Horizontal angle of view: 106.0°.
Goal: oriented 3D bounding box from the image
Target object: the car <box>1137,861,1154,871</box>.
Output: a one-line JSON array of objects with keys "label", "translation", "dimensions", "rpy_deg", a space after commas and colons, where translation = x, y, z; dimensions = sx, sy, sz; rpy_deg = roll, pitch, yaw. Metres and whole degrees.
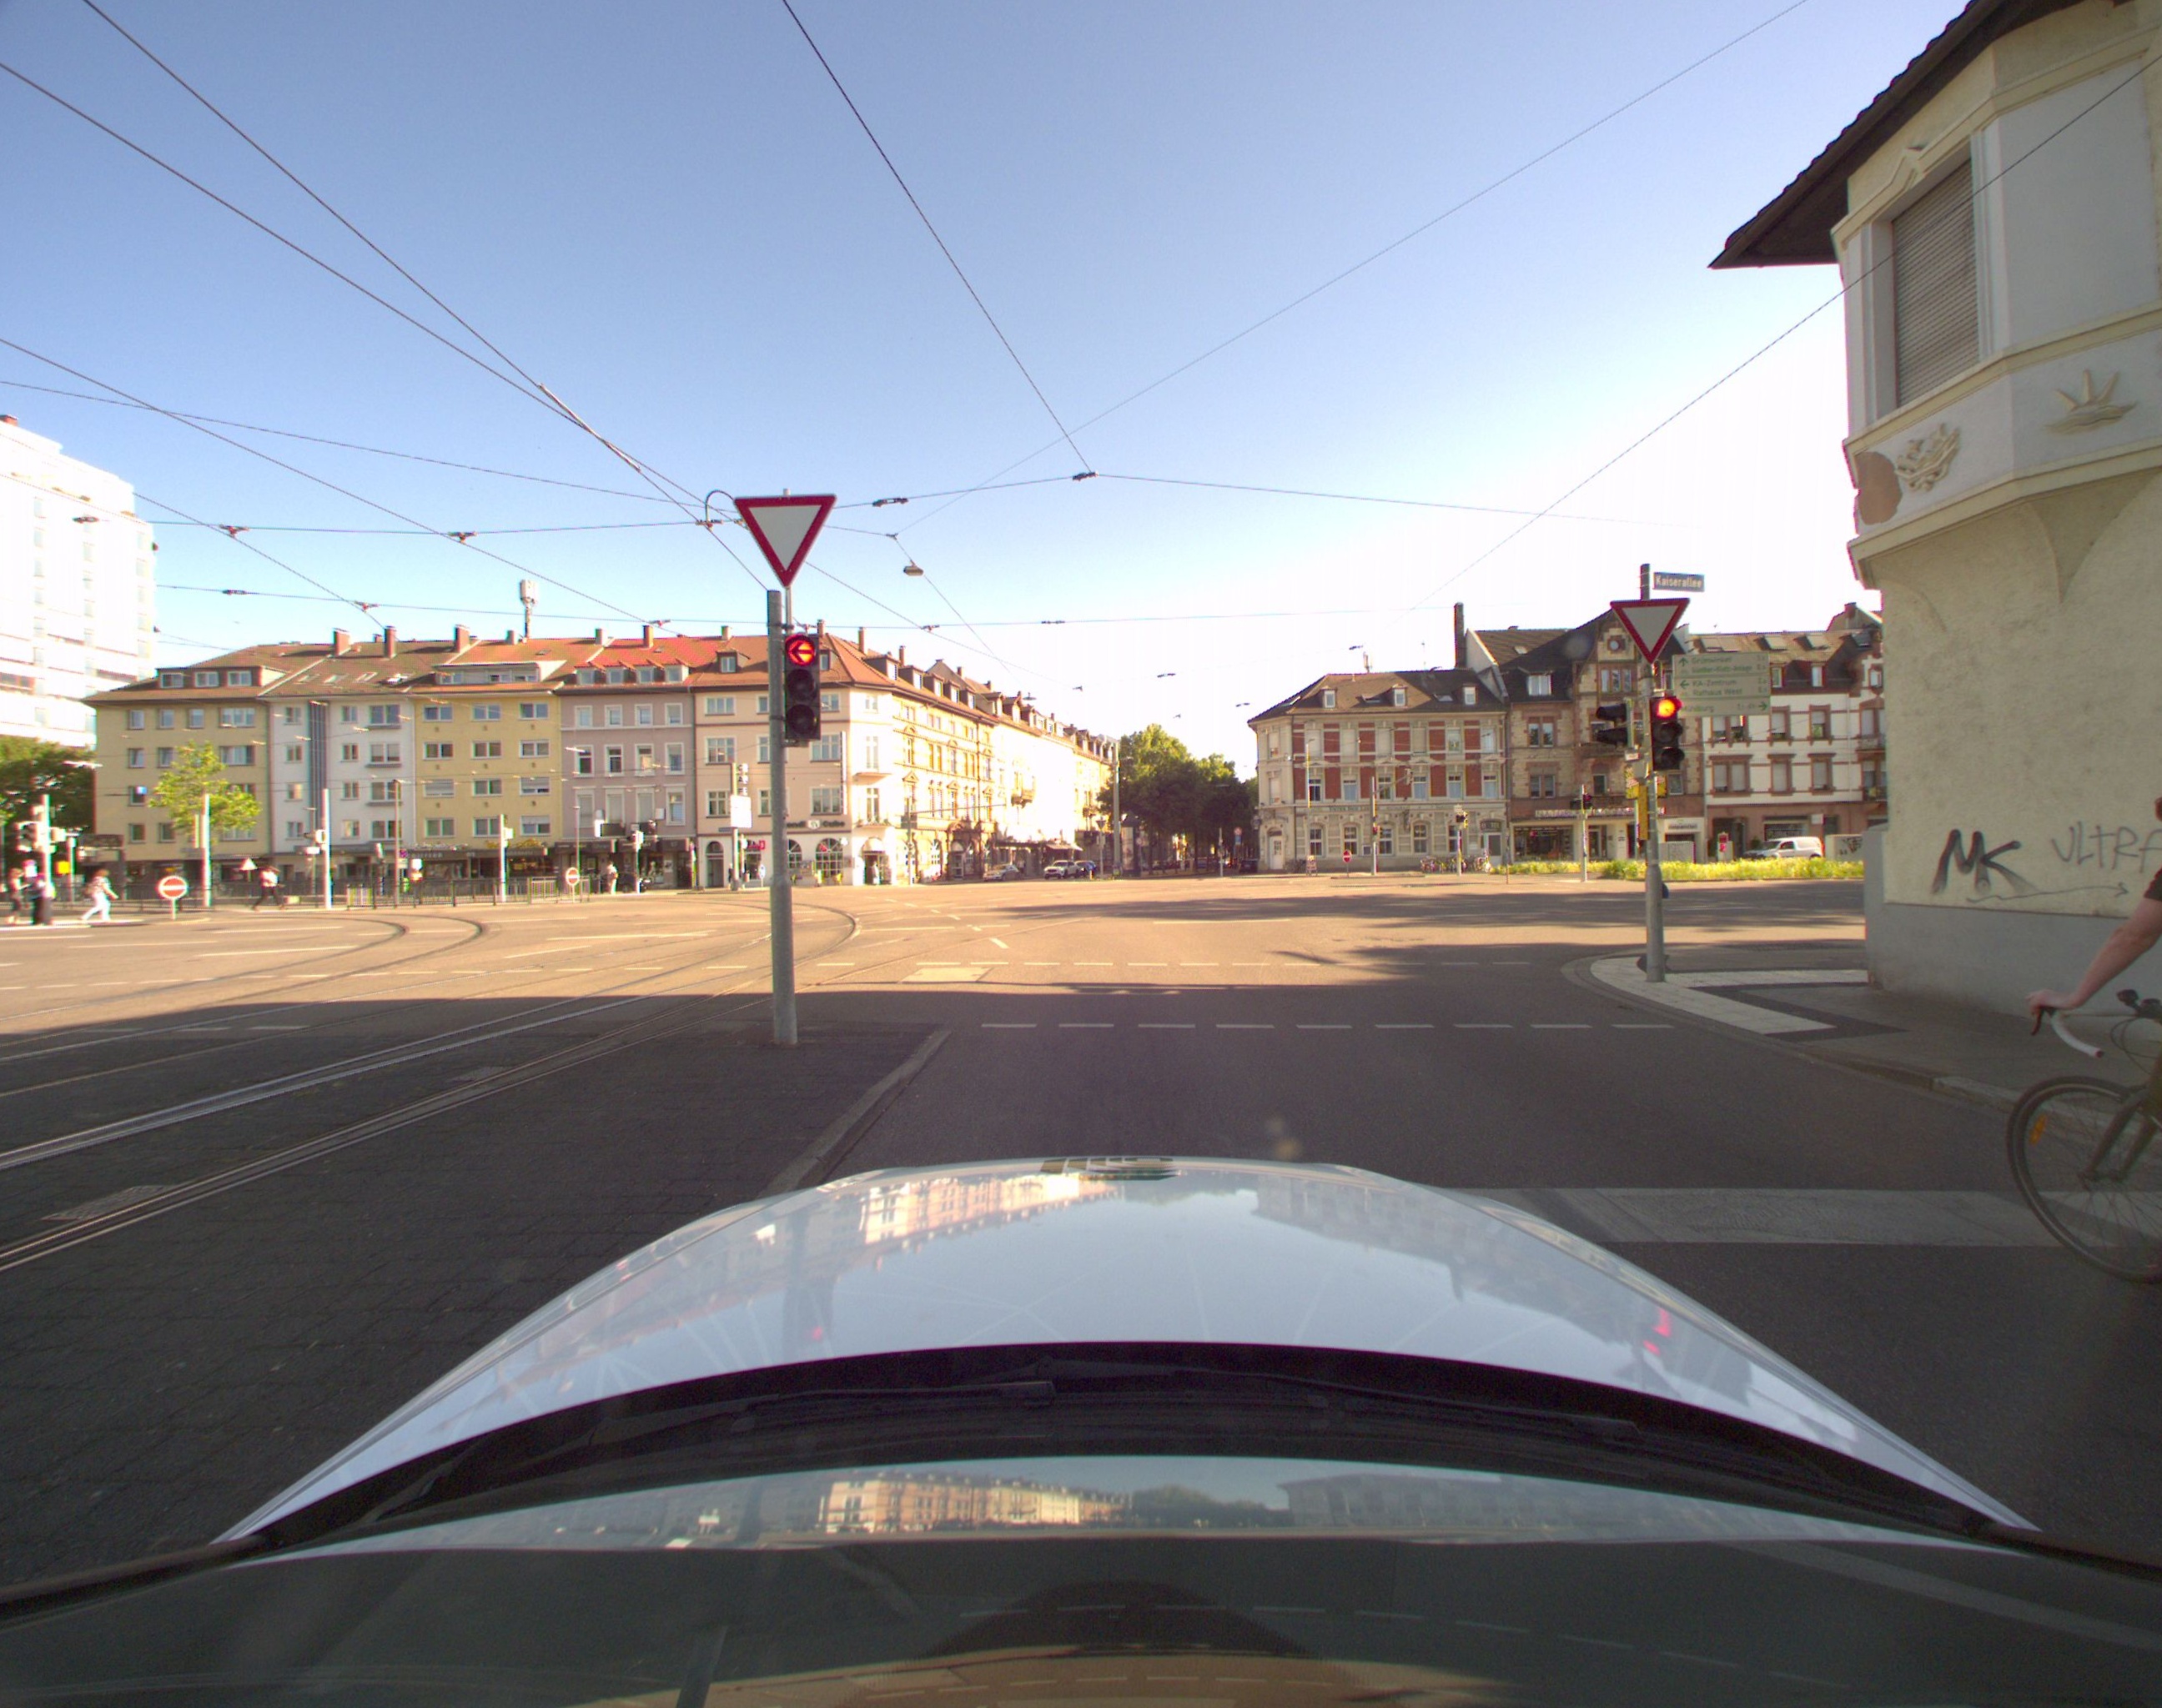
[{"label": "car", "translation": [9.184, 1.694, 115.768], "dimensions": [1.729, 1.397, 4.137], "rpy_deg": [1, 0, 12]}]

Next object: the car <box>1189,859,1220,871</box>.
[{"label": "car", "translation": [17.494, 1.536, 114.988], "dimensions": [4.078, 1.646, 1.754], "rpy_deg": [1, 0, 17]}]

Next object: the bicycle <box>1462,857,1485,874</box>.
[{"label": "bicycle", "translation": [25.319, 0.726, 52.613], "dimensions": [0.603, 1.051, 1.641], "rpy_deg": [-1, 0, -3]}]

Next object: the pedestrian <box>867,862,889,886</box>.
[{"label": "pedestrian", "translation": [-14.213, 1.391, 57.030], "dimensions": [1.029, 1.591, 1.075], "rpy_deg": [-2, 0, 39]}]

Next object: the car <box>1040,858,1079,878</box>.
[{"label": "car", "translation": [-1.725, 1.167, 67.365], "dimensions": [2.080, 1.499, 4.017], "rpy_deg": [-1, 0, 16]}]

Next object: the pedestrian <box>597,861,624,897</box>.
[{"label": "pedestrian", "translation": [-24.567, 1.311, 42.553], "dimensions": [0.871, 1.818, 0.811], "rpy_deg": [-1, 0, 2]}]

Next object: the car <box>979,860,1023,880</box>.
[{"label": "car", "translation": [-6.593, 1.308, 67.695], "dimensions": [2.080, 1.545, 4.382], "rpy_deg": [-1, 0, 16]}]

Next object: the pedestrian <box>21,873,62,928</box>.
[{"label": "pedestrian", "translation": [-31.894, 1.422, 25.002], "dimensions": [0.789, 1.625, 0.716], "rpy_deg": [-2, 0, 41]}]

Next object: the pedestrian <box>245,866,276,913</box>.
[{"label": "pedestrian", "translation": [-30.675, 1.311, 30.447], "dimensions": [0.772, 1.698, 0.702], "rpy_deg": [-2, 0, 39]}]

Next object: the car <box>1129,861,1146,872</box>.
[{"label": "car", "translation": [7.610, 1.658, 109.997], "dimensions": [1.729, 1.397, 4.137], "rpy_deg": [1, 0, 12]}]

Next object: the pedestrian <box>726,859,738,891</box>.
[{"label": "pedestrian", "translation": [-22.774, 1.358, 53.119], "dimensions": [0.506, 2.013, 0.505], "rpy_deg": [-1, 0, 5]}]

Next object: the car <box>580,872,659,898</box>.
[{"label": "car", "translation": [-30.270, 1.992, 53.530], "dimensions": [3.978, 1.464, 1.998], "rpy_deg": [-2, 0, -4]}]

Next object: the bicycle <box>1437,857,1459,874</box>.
[{"label": "bicycle", "translation": [23.817, 0.738, 52.864], "dimensions": [0.603, 1.051, 1.641], "rpy_deg": [-1, 0, -3]}]

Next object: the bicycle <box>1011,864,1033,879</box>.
[{"label": "bicycle", "translation": [-4.764, 1.435, 65.895], "dimensions": [0.745, 1.135, 2.821], "rpy_deg": [-1, 0, 16]}]

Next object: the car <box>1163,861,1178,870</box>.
[{"label": "car", "translation": [14.449, 1.821, 131.451], "dimensions": [1.728, 1.397, 4.141], "rpy_deg": [1, 0, 16]}]

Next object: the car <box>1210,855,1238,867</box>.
[{"label": "car", "translation": [23.381, 1.098, 133.066], "dimensions": [4.074, 1.919, 1.756], "rpy_deg": [1, 0, 23]}]

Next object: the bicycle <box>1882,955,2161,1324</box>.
[{"label": "bicycle", "translation": [3.583, 0.933, 2.503], "dimensions": [0.530, 1.016, 1.759], "rpy_deg": [-1, 0, 2]}]

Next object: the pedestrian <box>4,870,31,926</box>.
[{"label": "pedestrian", "translation": [-33.042, 1.368, 25.301], "dimensions": [0.551, 1.698, 0.499], "rpy_deg": [-2, 0, 37]}]

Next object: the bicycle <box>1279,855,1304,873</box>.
[{"label": "bicycle", "translation": [14.700, 0.698, 56.934], "dimensions": [1.625, 1.222, 0.609], "rpy_deg": [-1, 0, 18]}]

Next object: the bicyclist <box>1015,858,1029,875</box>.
[{"label": "bicyclist", "translation": [-4.761, 0.991, 65.867], "dimensions": [0.787, 1.375, 1.113], "rpy_deg": [-1, 0, 16]}]

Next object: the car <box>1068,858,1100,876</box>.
[{"label": "car", "translation": [0.296, 1.156, 73.688], "dimensions": [1.979, 1.513, 4.015], "rpy_deg": [-1, 0, 14]}]

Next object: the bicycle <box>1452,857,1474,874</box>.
[{"label": "bicycle", "translation": [24.643, 0.730, 52.564], "dimensions": [0.603, 1.051, 1.641], "rpy_deg": [-1, 0, -3]}]

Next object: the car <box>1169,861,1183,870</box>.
[{"label": "car", "translation": [15.873, 1.845, 136.199], "dimensions": [1.728, 1.397, 4.141], "rpy_deg": [1, 0, 16]}]

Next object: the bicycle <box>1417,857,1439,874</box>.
[{"label": "bicycle", "translation": [22.500, 0.748, 52.834], "dimensions": [0.603, 1.051, 1.641], "rpy_deg": [-1, 0, -3]}]

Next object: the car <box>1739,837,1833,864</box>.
[{"label": "car", "translation": [45.389, -0.220, 52.465], "dimensions": [4.356, 1.654, 1.999], "rpy_deg": [-1, 0, -2]}]

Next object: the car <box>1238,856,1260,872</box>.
[{"label": "car", "translation": [16.911, 1.000, 82.046], "dimensions": [1.637, 1.524, 3.772], "rpy_deg": [-2, -1, 20]}]

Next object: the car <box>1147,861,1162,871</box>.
[{"label": "car", "translation": [11.072, 1.737, 122.704], "dimensions": [1.729, 1.397, 4.137], "rpy_deg": [1, 0, 12]}]

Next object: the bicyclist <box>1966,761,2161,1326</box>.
[{"label": "bicyclist", "translation": [3.580, 0.579, 2.491], "dimensions": [0.557, 1.730, 1.084], "rpy_deg": [0, -1, 2]}]

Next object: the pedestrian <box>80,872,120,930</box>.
[{"label": "pedestrian", "translation": [-29.685, 1.409, 24.655], "dimensions": [0.548, 1.698, 0.751], "rpy_deg": [-2, 0, 39]}]

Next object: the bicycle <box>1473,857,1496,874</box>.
[{"label": "bicycle", "translation": [26.057, 0.720, 52.606], "dimensions": [0.603, 1.051, 1.641], "rpy_deg": [-1, 0, -3]}]

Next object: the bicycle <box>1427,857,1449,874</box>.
[{"label": "bicycle", "translation": [23.153, 0.743, 52.864], "dimensions": [0.603, 1.051, 1.641], "rpy_deg": [-1, 0, -3]}]
